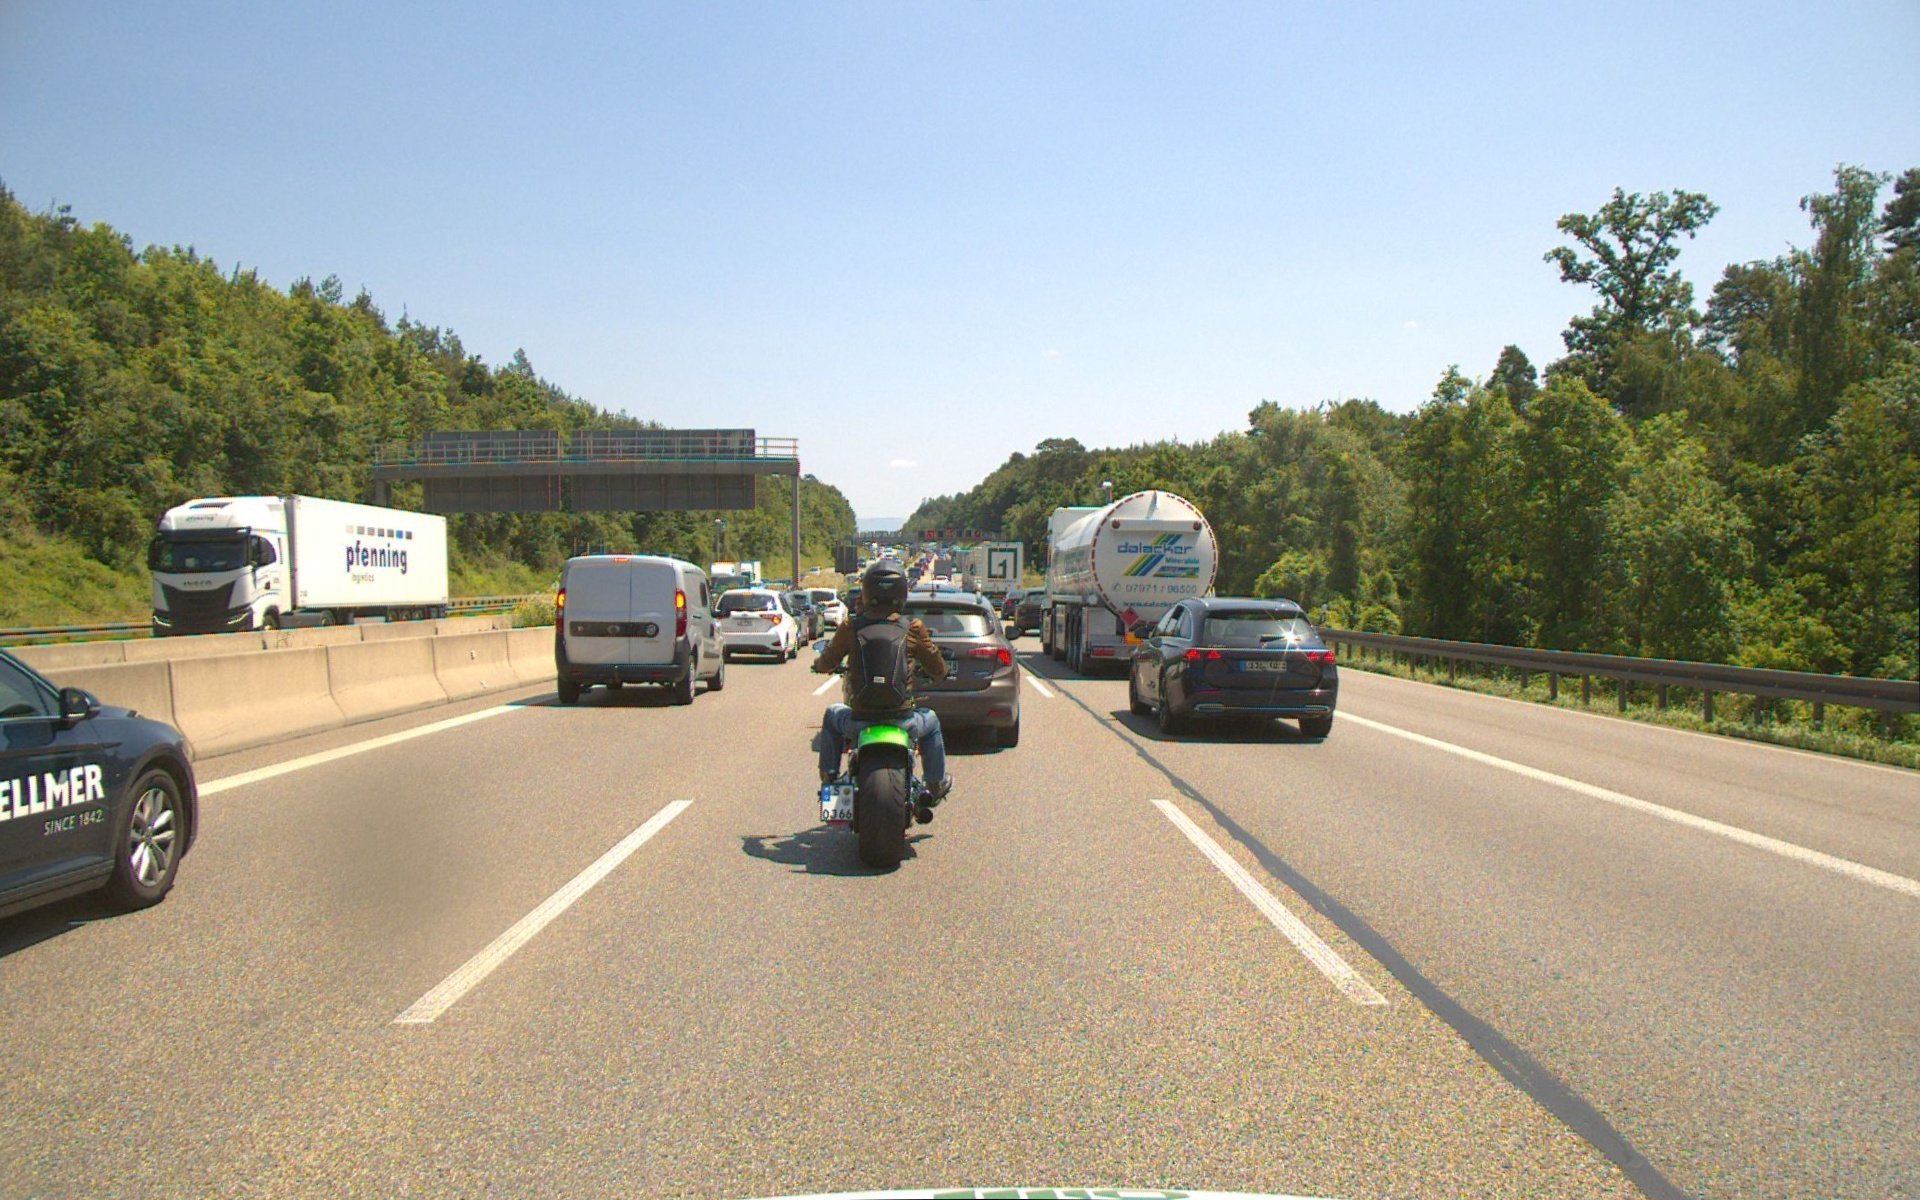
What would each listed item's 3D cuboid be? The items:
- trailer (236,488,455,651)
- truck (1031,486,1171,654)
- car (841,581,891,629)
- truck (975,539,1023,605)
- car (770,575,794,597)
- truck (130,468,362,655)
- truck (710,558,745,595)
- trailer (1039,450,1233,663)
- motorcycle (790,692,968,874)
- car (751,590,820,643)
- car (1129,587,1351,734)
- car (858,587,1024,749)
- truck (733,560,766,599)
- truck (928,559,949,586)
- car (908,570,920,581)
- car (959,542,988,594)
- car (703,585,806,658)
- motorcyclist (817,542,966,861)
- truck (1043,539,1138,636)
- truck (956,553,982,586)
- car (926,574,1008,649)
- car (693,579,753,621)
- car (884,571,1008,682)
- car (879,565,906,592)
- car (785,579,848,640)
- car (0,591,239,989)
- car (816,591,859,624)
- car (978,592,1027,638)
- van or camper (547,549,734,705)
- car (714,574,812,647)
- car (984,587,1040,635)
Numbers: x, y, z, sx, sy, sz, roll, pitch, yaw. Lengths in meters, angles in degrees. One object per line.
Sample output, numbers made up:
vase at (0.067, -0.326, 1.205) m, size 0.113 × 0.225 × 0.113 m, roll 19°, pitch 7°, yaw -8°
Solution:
trailer at (-18.950, -0.802, 51.951) m, size 2.889 × 4.560 × 10.814 m, roll 1°, pitch -1°, yaw -1°
truck at (3.318, -0.645, 40.507) m, size 2.770 × 3.735 × 6.428 m, roll 1°, pitch -1°, yaw -1°
car at (-4.097, 0.232, 72.721) m, size 1.953 × 2.049 × 3.999 m, roll 1°, pitch -1°, yaw -1°
truck at (2.484, -1.683, 103.321) m, size 2.794 × 3.888 × 7.189 m, roll 1°, pitch -1°, yaw 2°
car at (-16.400, -1.276, 152.633) m, size 1.748 × 1.870 × 4.292 m, roll 1°, pitch -1°, yaw -1°
truck at (-18.910, -0.909, 44.420) m, size 2.889 × 4.560 × 7.517 m, roll 1°, pitch -1°, yaw 0°
truck at (-19.520, -1.922, 139.225) m, size 2.133 × 2.935 × 6.740 m, roll 1°, pitch -1°, yaw -1°
trailer at (3.386, -0.722, 34.727) m, size 2.770 × 3.735 × 10.730 m, roll 1°, pitch -1°, yaw -1°
motorcycle at (-0.435, 1.022, 9.794) m, size 0.917 × 0.807 × 2.298 m, roll 1°, pitch 0°, yaw -1°
car at (-5.292, 0.495, 50.041) m, size 1.955 × 1.490 × 3.994 m, roll 1°, pitch -1°, yaw -7°
car at (3.121, 0.649, 19.331) m, size 1.755 × 1.484 × 4.623 m, roll 1°, pitch -1°, yaw -1°
car at (-0.196, 0.621, 17.252) m, size 1.509 × 1.475 × 3.999 m, roll 1°, pitch 0°, yaw -1°
truck at (-23.150, -2.173, 182.069) m, size 2.637 × 4.059 × 7.989 m, roll 1°, pitch -1°, yaw -1°
truck at (-2.872, -3.606, 222.088) m, size 2.641 × 3.465 × 10.476 m, roll 0°, pitch 0°, yaw -1°
car at (-6.936, -3.678, 249.015) m, size 1.734 × 1.583 × 3.999 m, roll 0°, pitch 0°, yaw -1°
car at (1.064, -2.554, 134.965) m, size 2.123 × 3.961 × 9.328 m, roll 1°, pitch -1°, yaw -1°
car at (-4.327, 0.449, 35.339) m, size 1.740 × 1.435 × 3.999 m, roll 1°, pitch -1°, yaw -1°
motorcyclist at (-0.375, 0.555, 9.486) m, size 0.782 × 1.717 × 1.016 m, roll 1°, pitch -1°, yaw -1°
truck at (4.310, -0.431, 56.183) m, size 2.340 × 3.031 × 8.250 m, roll 1°, pitch 0°, yaw -2°
truck at (0.925, -3.278, 180.448) m, size 2.641 × 3.465 × 10.476 m, roll 0°, pitch 0°, yaw -1°
car at (0.132, 0.296, 42.221) m, size 1.953 × 1.806 × 3.998 m, roll 1°, pitch -1°, yaw -2°
car at (-8.903, -0.013, 62.412) m, size 1.788 × 1.521 × 3.999 m, roll 0°, pitch 0°, yaw -2°
car at (-0.273, 0.441, 28.486) m, size 1.953 × 1.741 × 3.998 m, roll 1°, pitch -1°, yaw -2°
car at (-5.163, -1.650, 127.528) m, size 1.953 × 2.049 × 3.999 m, roll 0°, pitch 0°, yaw -1°
car at (-5.077, 0.348, 59.075) m, size 1.953 × 2.049 × 3.999 m, roll 1°, pitch -1°, yaw -1°
car at (-4.468, 0.692, 5.820) m, size 1.836 × 1.475 × 4.677 m, roll 1°, pitch 0°, yaw -1°
car at (-5.689, 0.360, 77.207) m, size 1.728 × 1.467 × 3.999 m, roll 1°, pitch -1°, yaw 0°
car at (1.912, 0.683, 75.863) m, size 1.953 × 2.049 × 3.998 m, roll 1°, pitch -1°, yaw -2°
van or camper at (-4.296, 0.309, 22.903) m, size 1.815 × 1.913 × 4.560 m, roll 1°, pitch 1°, yaw -2°
car at (-4.871, 0.268, 41.467) m, size 1.953 × 1.713 × 4.329 m, roll 1°, pitch -1°, yaw -1°
car at (1.747, 0.386, 56.926) m, size 1.740 × 1.554 × 3.999 m, roll 1°, pitch -1°, yaw -1°
